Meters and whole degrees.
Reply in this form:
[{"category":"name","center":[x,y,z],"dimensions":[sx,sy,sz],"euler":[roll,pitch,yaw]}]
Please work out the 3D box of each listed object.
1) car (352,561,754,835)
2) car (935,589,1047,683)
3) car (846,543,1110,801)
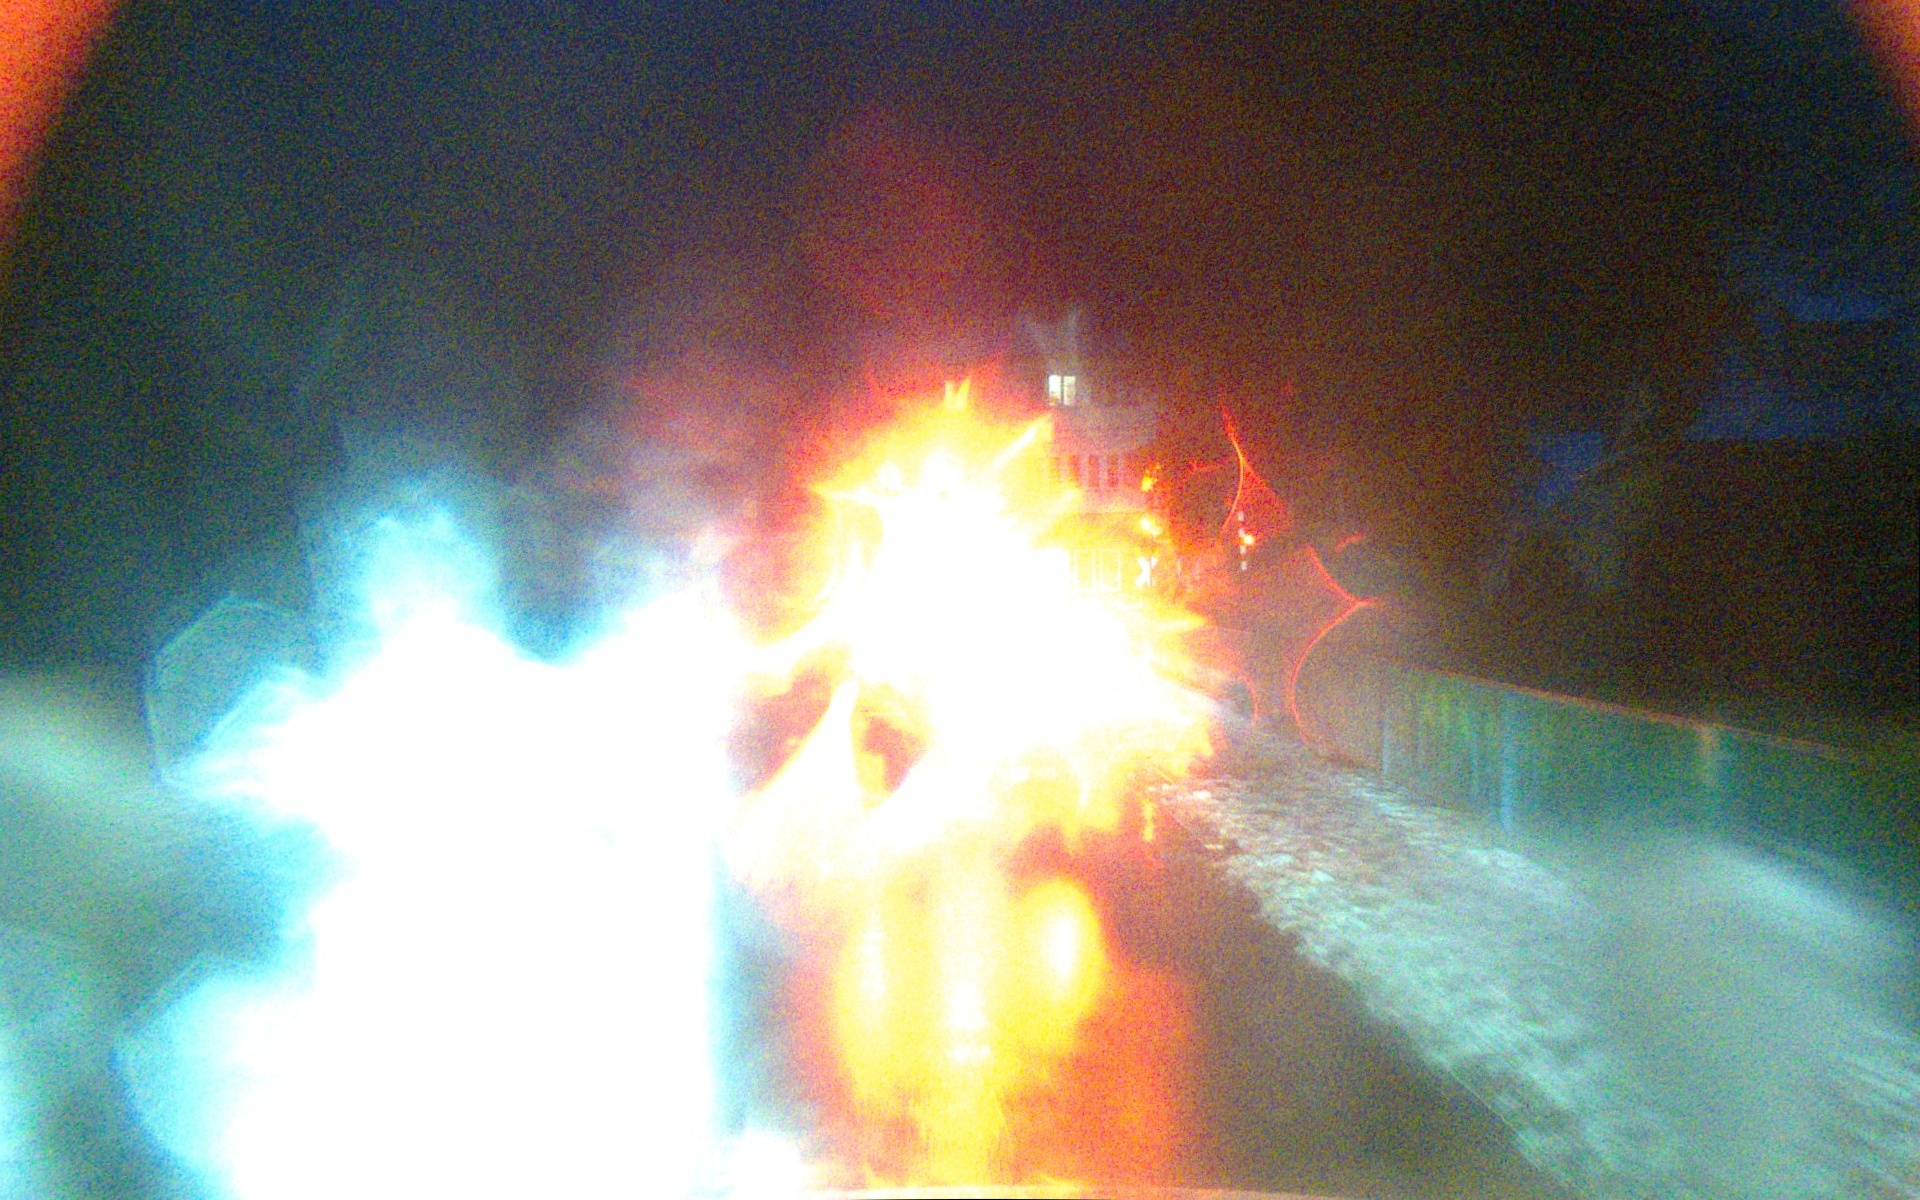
[{"category":"car","center":[-2.821,0.636,12.523],"dimensions":[1.836,1.572,4.355],"euler":[-4,-1,0]},{"category":"car","center":[0.591,0.544,27.724],"dimensions":[1.707,1.440,4.002],"euler":[-1,0,3]},{"category":"car","center":[0.156,0.459,13.035],"dimensions":[1.754,1.710,3.905],"euler":[-1,1,1]}]
